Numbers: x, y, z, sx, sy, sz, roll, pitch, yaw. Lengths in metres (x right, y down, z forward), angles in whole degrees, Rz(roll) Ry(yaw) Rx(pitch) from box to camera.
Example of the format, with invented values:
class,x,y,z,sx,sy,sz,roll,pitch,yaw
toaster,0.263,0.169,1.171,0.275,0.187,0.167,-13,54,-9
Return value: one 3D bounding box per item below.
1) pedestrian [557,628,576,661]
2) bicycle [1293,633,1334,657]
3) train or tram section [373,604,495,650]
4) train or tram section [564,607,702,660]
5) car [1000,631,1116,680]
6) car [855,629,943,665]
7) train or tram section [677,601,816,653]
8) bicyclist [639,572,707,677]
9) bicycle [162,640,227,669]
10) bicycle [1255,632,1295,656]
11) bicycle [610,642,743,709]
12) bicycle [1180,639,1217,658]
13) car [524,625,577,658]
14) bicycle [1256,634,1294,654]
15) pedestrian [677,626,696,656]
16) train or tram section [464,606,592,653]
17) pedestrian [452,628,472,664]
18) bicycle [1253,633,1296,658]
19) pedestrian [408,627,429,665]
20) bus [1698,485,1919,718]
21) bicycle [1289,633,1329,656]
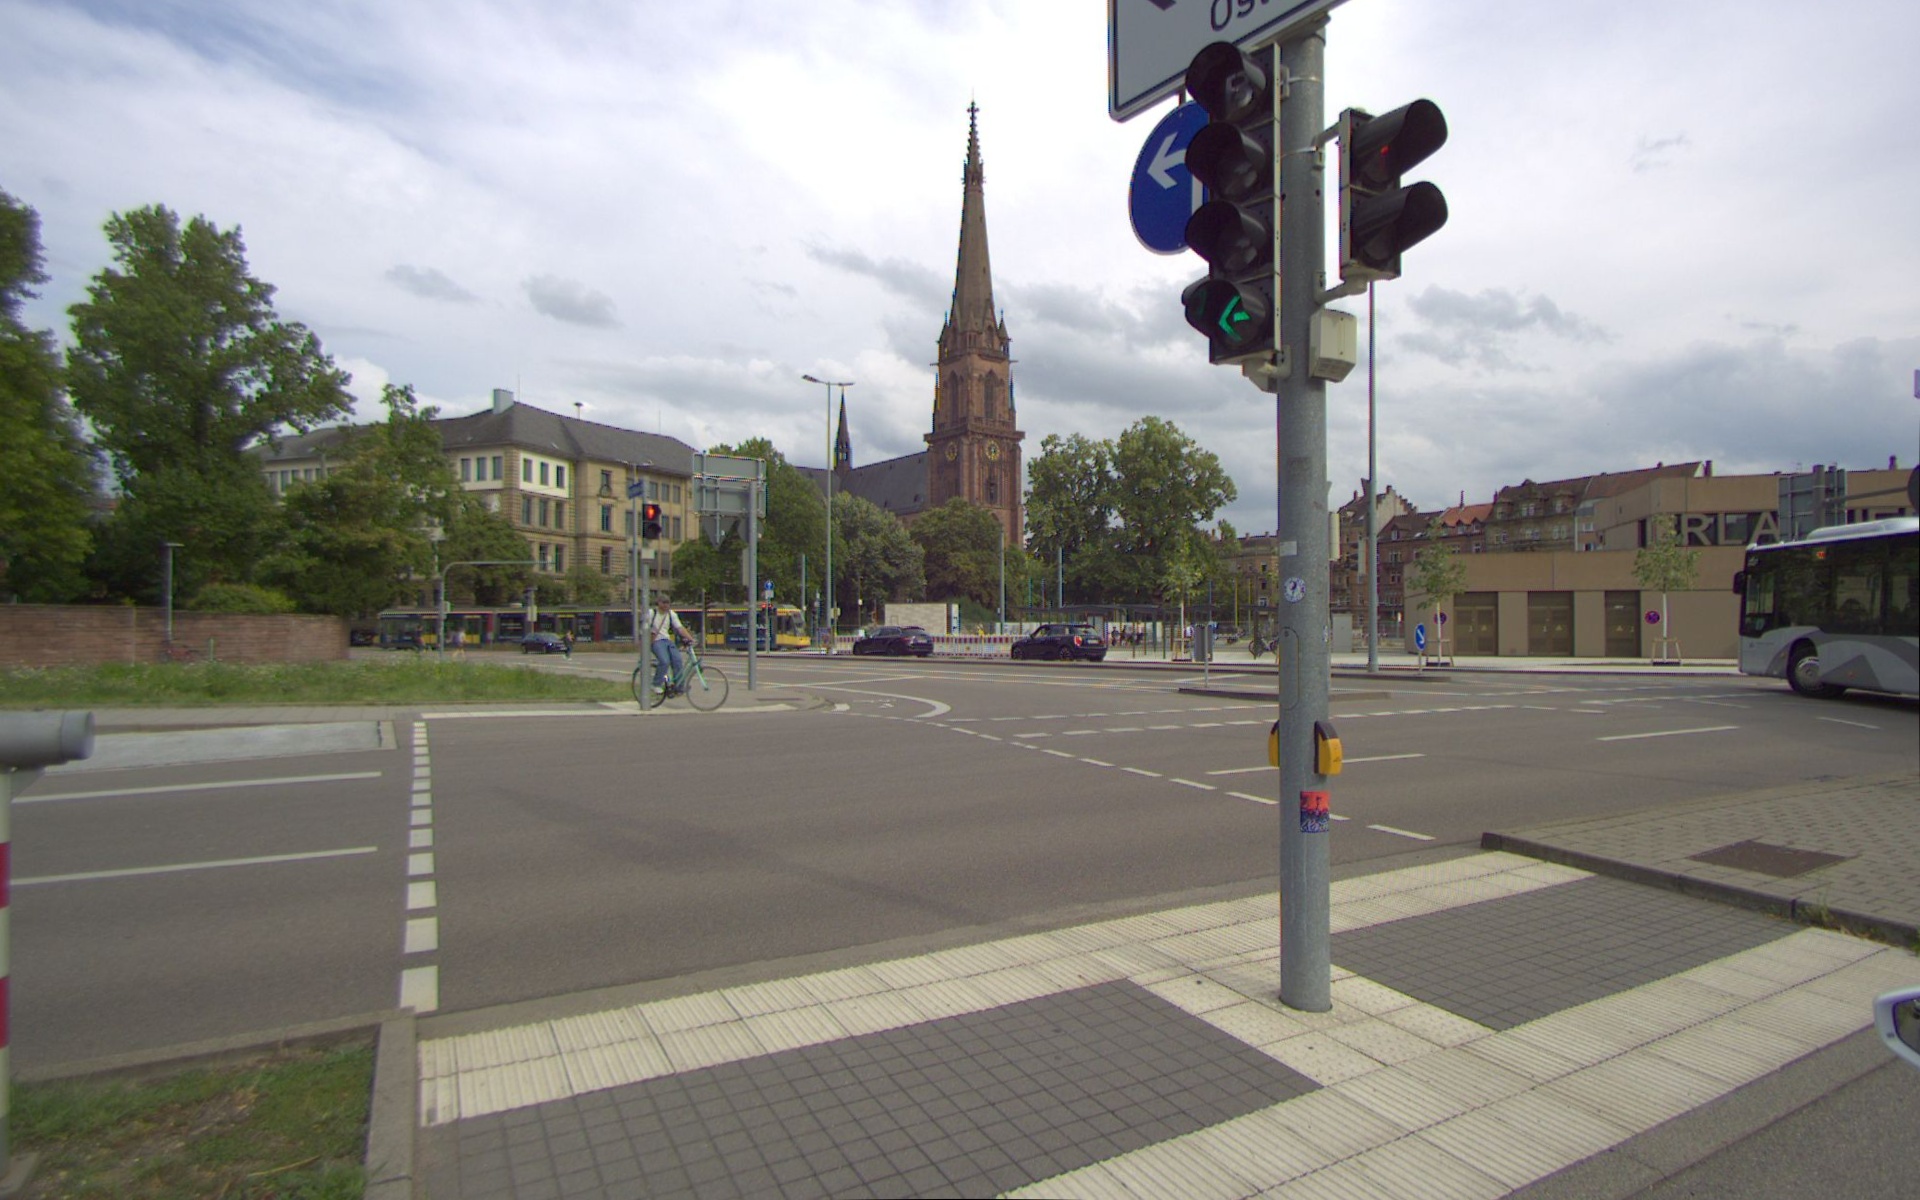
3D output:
class,x,y,z,sx,sy,sz,roll,pitch,yaw
pedestrian,-21.071,2.359,53.733,0.791,1.734,0.832,1,0,-32
bicycle,18.331,2.344,52.104,1.926,1.171,0.584,1,0,9
train or tram section,-42.034,2.130,80.272,9.183,3.321,3.063,1,0,18
train or tram section,-24.254,2.415,74.408,9.732,3.496,3.063,1,0,18
car,3.493,1.950,36.236,1.982,1.506,3.956,2,0,-38
car,-2.774,2.079,44.878,1.981,1.379,4.231,2,0,-35
train or tram section,-15.184,1.846,71.437,9.313,3.290,3.063,1,0,18
bicyclist,-4.482,0.386,15.719,0.782,1.576,0.580,2,-2,10
bicycle,-29.231,2.073,38.405,0.763,1.018,1.927,1,0,11
bicycle,16.527,2.298,52.785,1.926,1.171,0.584,1,0,9
bicycle,-4.422,1.166,15.672,1.931,0.948,0.506,2,-2,10
bicycle,13.085,2.653,55.143,1.927,0.968,0.584,1,0,15
car,-27.581,2.764,67.560,1.986,2.040,3.948,1,0,-44
bicycle,17.280,2.419,55.183,1.927,0.983,0.584,1,0,15
pedestrian,-16.014,2.396,58.822,0.791,1.734,0.832,1,0,-32
train or tram section,-33.286,2.241,77.373,9.242,3.255,3.063,1,0,18
pedestrian,-24.685,2.262,49.768,0.791,1.734,0.832,1,0,-32
bicycle,15.687,2.268,50.126,1.926,1.171,0.584,1,0,9
pedestrian,-25.208,2.126,46.783,0.791,1.734,0.832,1,0,-32
bus,15.732,0.022,15.025,2.659,3.483,14.193,-1,-3,16
bicycle,18.583,2.355,53.540,1.926,1.171,0.584,1,0,9
